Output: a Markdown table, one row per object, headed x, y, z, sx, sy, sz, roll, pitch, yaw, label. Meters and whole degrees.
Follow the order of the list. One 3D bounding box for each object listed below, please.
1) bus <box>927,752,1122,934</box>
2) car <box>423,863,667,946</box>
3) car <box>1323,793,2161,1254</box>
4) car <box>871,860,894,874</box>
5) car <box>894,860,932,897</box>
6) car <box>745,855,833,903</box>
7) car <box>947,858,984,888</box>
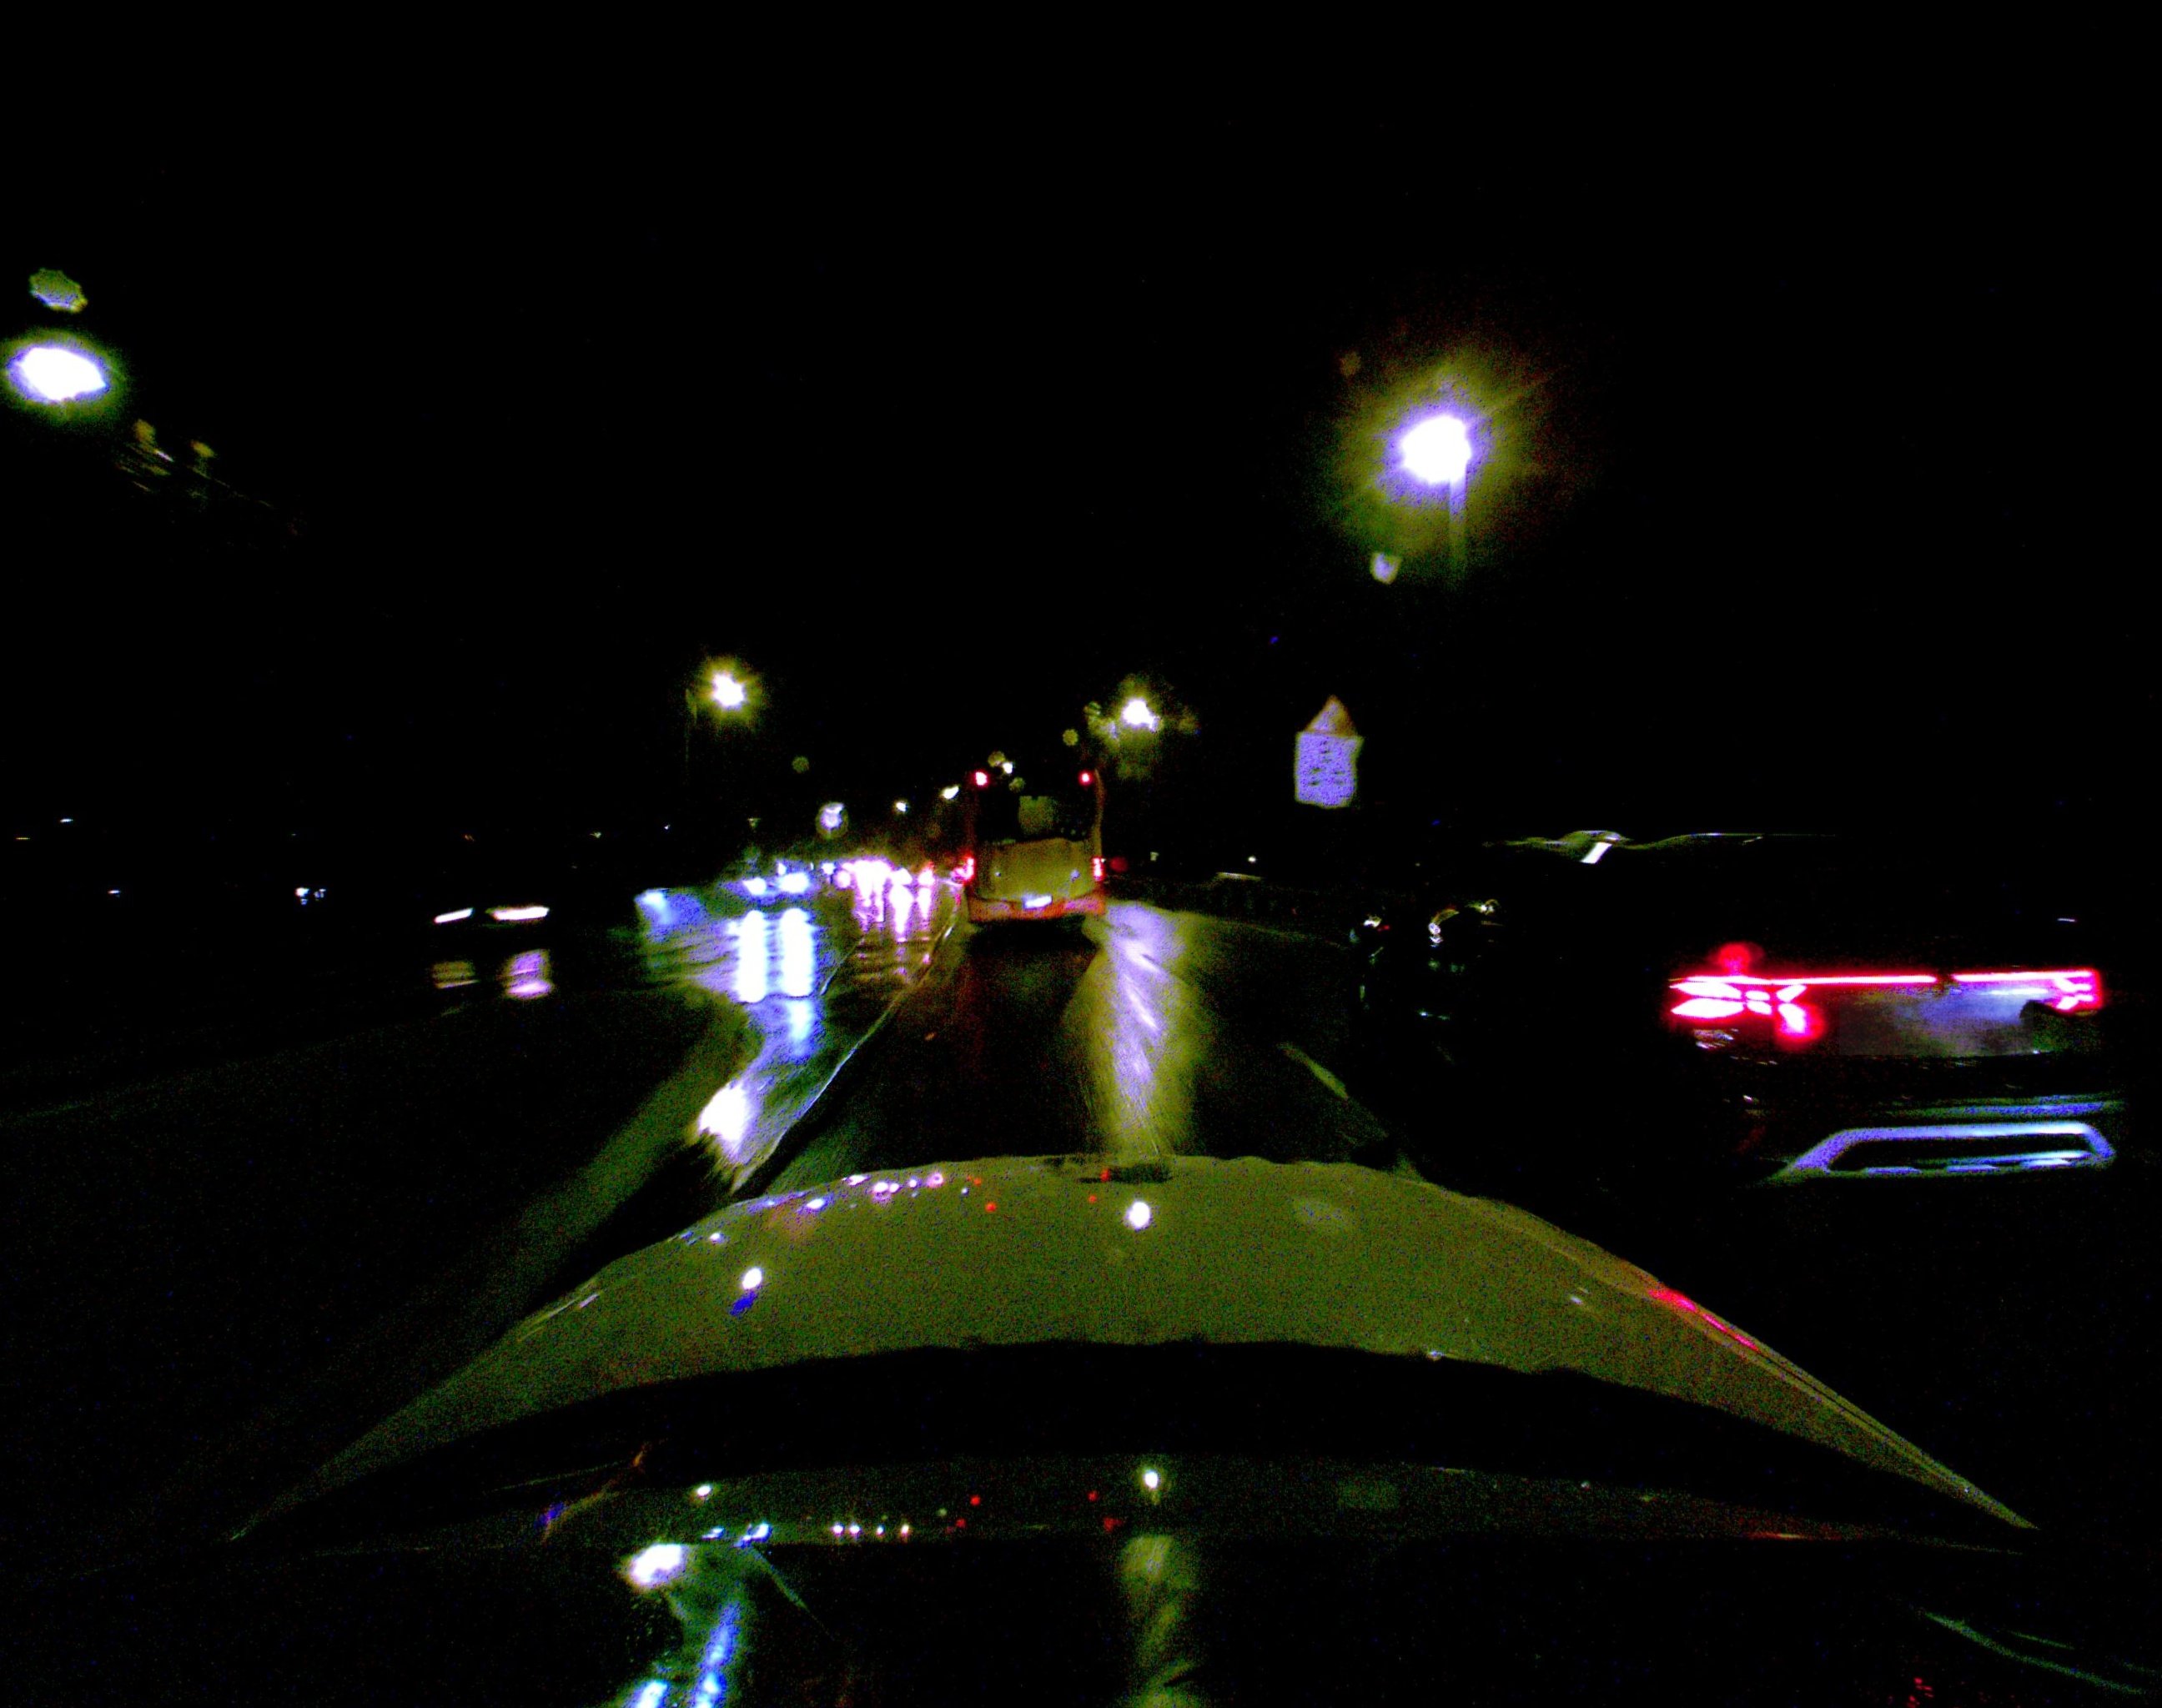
| x | y | z | sx | sy | sz | roll | pitch | yaw | label |
| --- | --- | --- | --- | --- | --- | --- | --- | --- | --- |
| -1.247 | -0.370 | 18.566 | 3.278 | 3.049 | 9.533 | 0 | 2 | -4 | bus |
| -10.734 | 0.951 | 16.835 | 1.817 | 1.448 | 4.660 | 1 | -1 | 1 | car |
| 2.902 | 0.628 | 4.728 | 1.673 | 1.522 | 3.956 | 1 | -2 | -2 | car |
| -24.071 | 1.570 | 98.739 | 1.825 | 1.618 | 3.966 | 2 | -2 | -26 | car |
| -9.659 | 1.403 | 47.105 | 1.994 | 2.014 | 4.332 | 2 | -2 | -11 | car |
| -10.685 | 0.858 | 30.149 | 1.877 | 1.607 | 4.653 | -1 | 0 | -4 | car |
| -8.295 | 1.344 | 58.158 | 1.998 | 2.014 | 4.324 | 2 | -2 | -16 | car |
